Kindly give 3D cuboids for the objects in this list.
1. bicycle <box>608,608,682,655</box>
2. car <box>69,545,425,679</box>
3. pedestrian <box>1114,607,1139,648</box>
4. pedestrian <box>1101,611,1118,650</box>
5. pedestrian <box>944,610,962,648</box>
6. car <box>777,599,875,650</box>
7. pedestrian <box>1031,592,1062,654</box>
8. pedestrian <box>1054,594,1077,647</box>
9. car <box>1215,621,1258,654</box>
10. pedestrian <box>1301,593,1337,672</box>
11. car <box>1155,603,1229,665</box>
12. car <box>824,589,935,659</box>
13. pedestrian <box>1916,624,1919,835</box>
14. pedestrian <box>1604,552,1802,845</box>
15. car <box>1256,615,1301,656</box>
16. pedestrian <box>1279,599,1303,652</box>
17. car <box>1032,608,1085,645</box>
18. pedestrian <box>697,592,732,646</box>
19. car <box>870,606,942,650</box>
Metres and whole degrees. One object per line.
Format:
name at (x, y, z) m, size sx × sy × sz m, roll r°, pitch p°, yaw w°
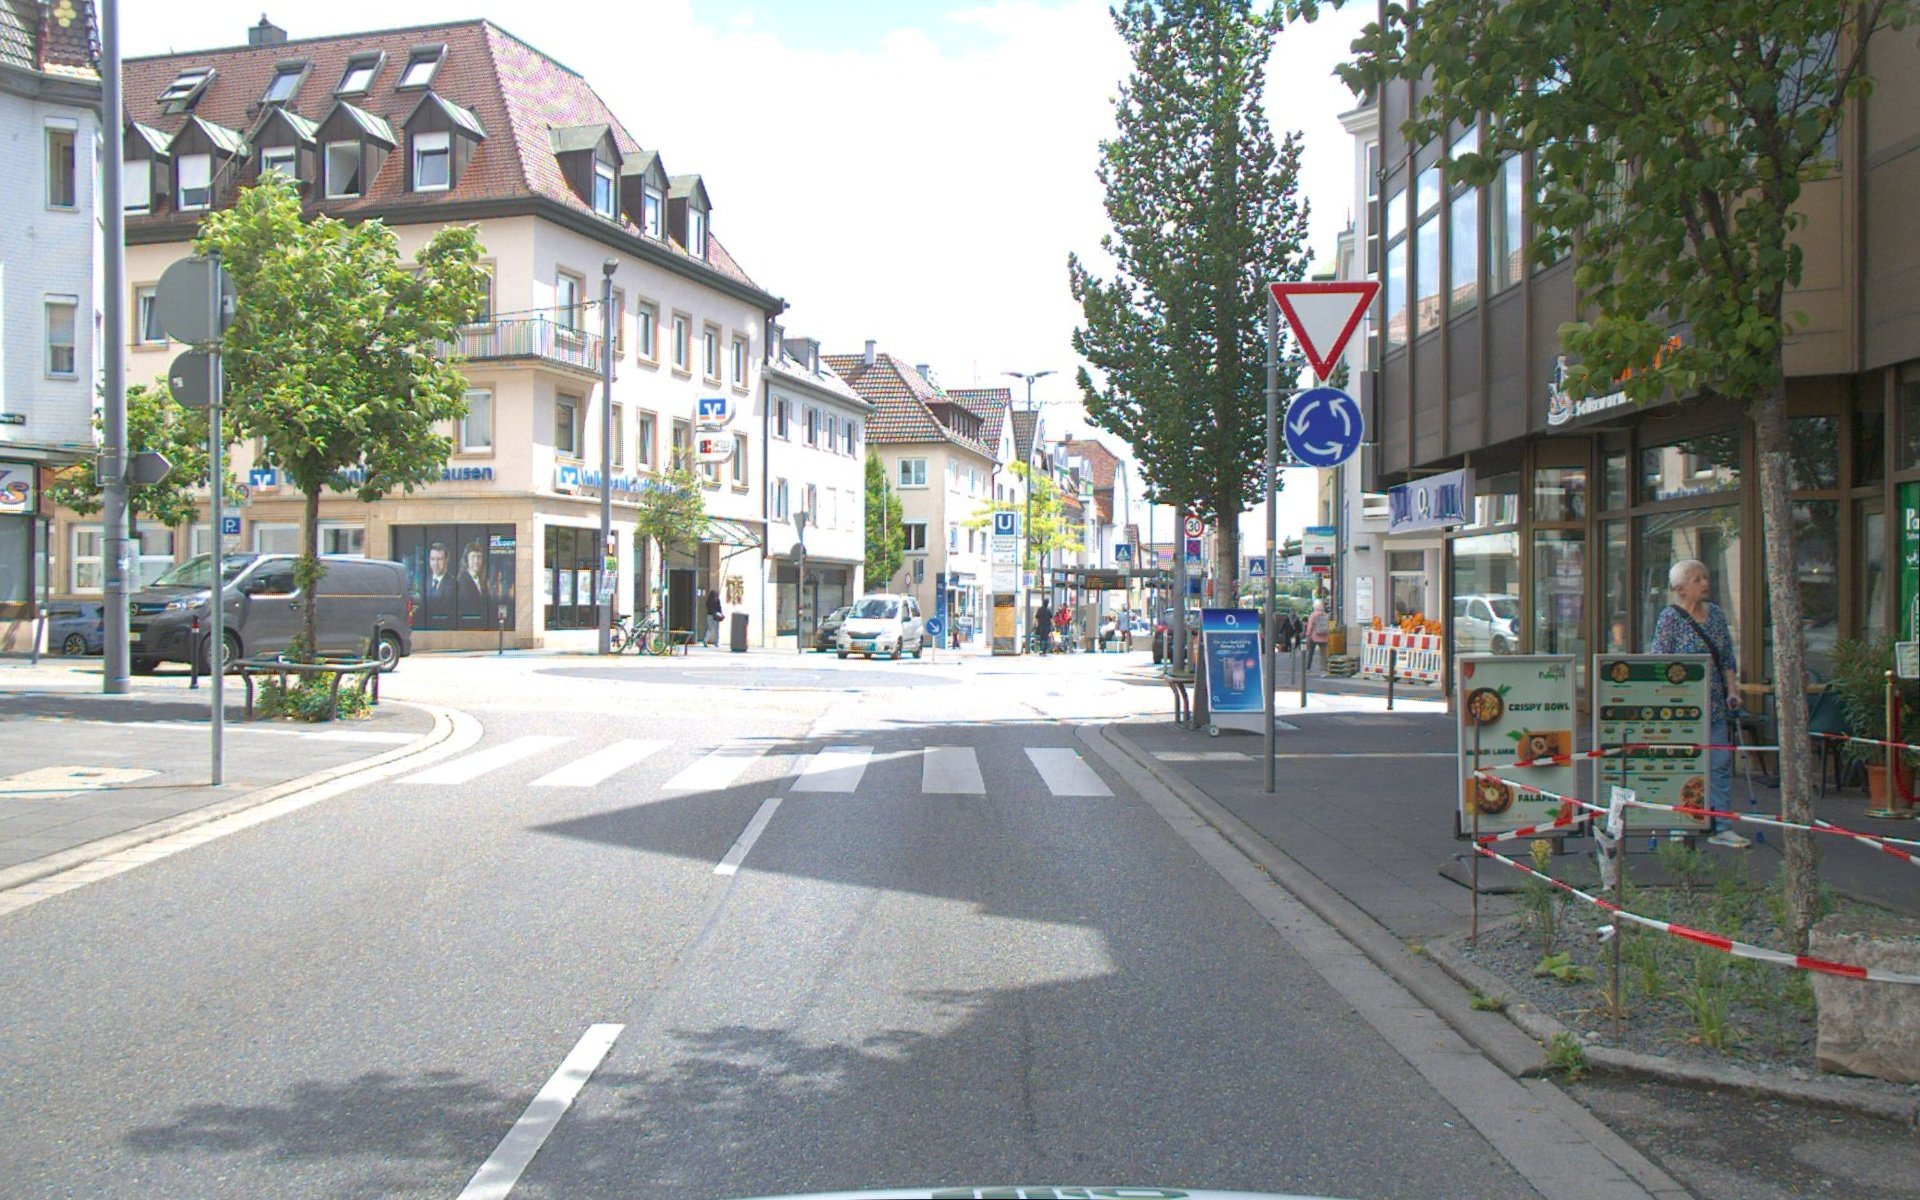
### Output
bicycle at (-7.401, 0.735, 38.854) m, size 1.597 × 1.049 × 0.568 m, roll 1°, pitch 0°, yaw 14°
car at (-11.001, 0.190, 25.963) m, size 2.001 × 1.880 × 4.993 m, roll 1°, pitch 0°, yaw 27°
pedestrian at (6.611, 1.098, 65.576) m, size 0.714 × 1.607 × 0.746 m, roll 1°, pitch 0°, yaw 34°
pedestrian at (5.269, 1.061, 58.222) m, size 0.579 × 1.339 × 0.591 m, roll 1°, pitch 0°, yaw 5°
pedestrian at (-0.310, 1.294, 73.371) m, size 0.678 × 1.638 × 0.644 m, roll 1°, pitch 0°, yaw 3°
car at (-4.151, 0.763, 51.841) m, size 1.951 × 1.478 × 4.003 m, roll 1°, pitch 0°, yaw 12°
pedestrian at (2.478, 0.649, 47.494) m, size 0.851 × 1.738 × 0.531 m, roll 1°, pitch 0°, yaw 2°
pedestrian at (3.666, 0.709, 57.610) m, size 0.712 × 1.794 × 0.749 m, roll 1°, pitch 0°, yaw 9°
car at (14.842, 1.989, 88.854) m, size 1.908 × 1.668 × 4.002 m, roll 1°, pitch 0°, yaw 4°
pedestrian at (7.916, 0.707, 36.472) m, size 0.608 × 1.719 × 0.652 m, roll 1°, pitch 0°, yaw -1°
car at (6.327, 0.894, 44.875) m, size 1.661 × 1.557 × 3.474 m, roll 1°, pitch 0°, yaw 13°
car at (-2.057, 0.624, 43.664) m, size 1.951 × 1.719 × 4.003 m, roll 1°, pitch 0°, yaw 12°
pedestrian at (5.988, 0.448, 9.318) m, size 0.793 × 1.845 × 0.654 m, roll 1°, pitch 0°, yaw -1°
pedestrian at (4.379, 0.560, 9.799) m, size 0.768 × 1.644 × 0.800 m, roll -1°, pitch 0°, yaw -1°
car at (12.917, 1.407, 66.968) m, size 1.661 × 1.557 × 3.474 m, roll 1°, pitch 0°, yaw 13°
pedestrian at (10.754, 0.827, 53.795) m, size 0.608 × 1.719 × 0.652 m, roll 1°, pitch 0°, yaw -1°
car at (4.662, 1.236, 77.935) m, size 1.835 × 1.652 × 4.003 m, roll 1°, pitch 0°, yaw 13°
pedestrian at (-7.181, 0.558, 48.445) m, size 0.613 × 1.559 × 0.858 m, roll 1°, pitch 0°, yaw 23°
car at (-2.004, 1.045, 62.632) m, size 1.806 × 1.571 × 4.003 m, roll 1°, pitch 0°, yaw 12°
